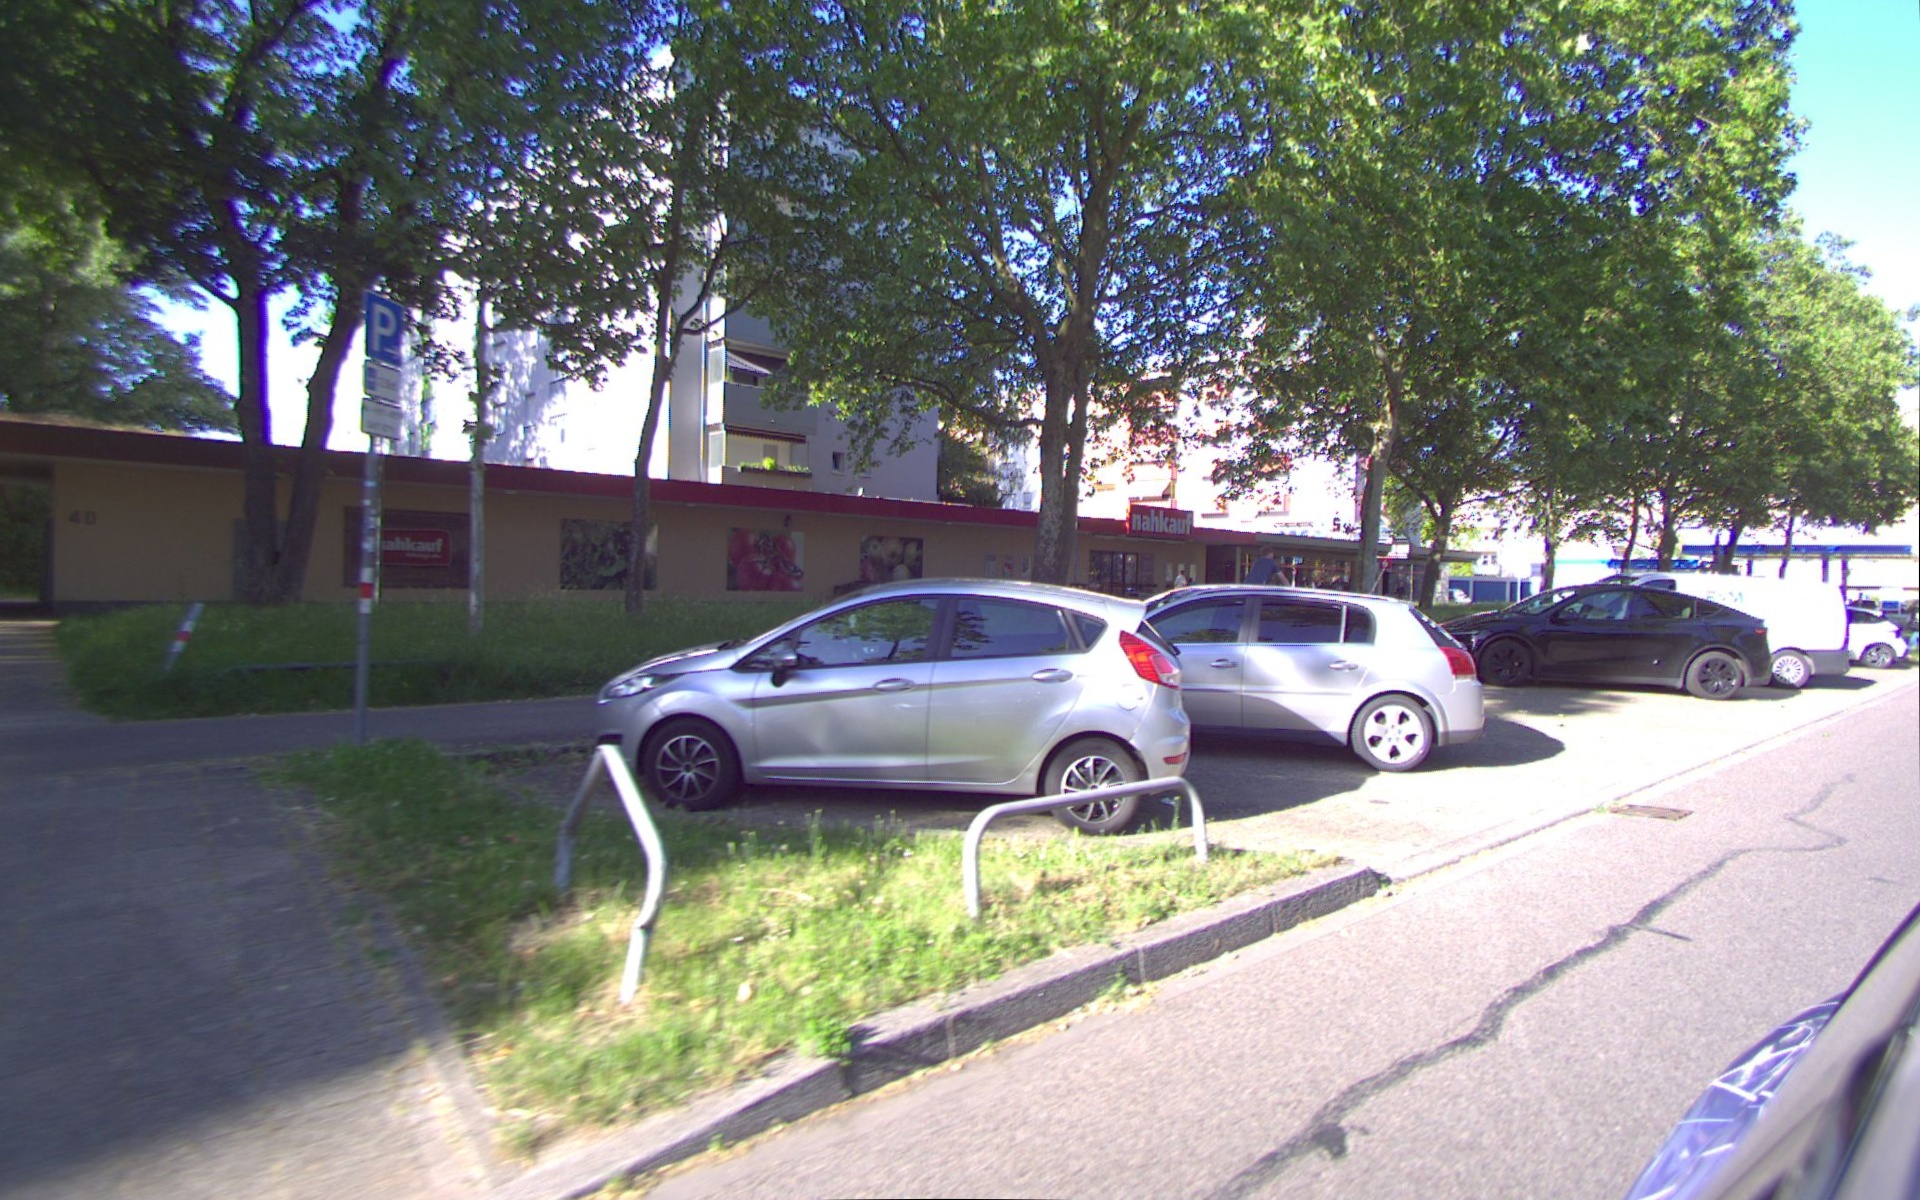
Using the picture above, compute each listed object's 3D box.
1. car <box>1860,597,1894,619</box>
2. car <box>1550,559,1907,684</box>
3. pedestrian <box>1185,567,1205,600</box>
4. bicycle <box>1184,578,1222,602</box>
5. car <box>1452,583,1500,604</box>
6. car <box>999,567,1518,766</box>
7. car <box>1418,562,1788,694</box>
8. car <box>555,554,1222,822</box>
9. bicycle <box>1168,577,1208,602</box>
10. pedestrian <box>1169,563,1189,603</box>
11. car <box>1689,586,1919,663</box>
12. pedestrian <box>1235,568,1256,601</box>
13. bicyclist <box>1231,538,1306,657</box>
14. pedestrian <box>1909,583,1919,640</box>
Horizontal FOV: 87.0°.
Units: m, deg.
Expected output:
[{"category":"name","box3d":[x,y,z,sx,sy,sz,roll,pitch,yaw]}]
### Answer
[{"category":"car","box3d":[66.035,0.577,72.868,1.721,1.481,3.942,3,2,44]},{"category":"car","box3d":[13.367,0.304,17.910,4.596,1.875,1.826,3,2,10]},{"category":"pedestrian","box3d":[10.453,-0.742,44.969,0.531,1.448,0.704,2,1,44]},{"category":"bicycle","box3d":[12.094,-0.501,50.377,1.811,1.194,0.600,1,0,-19]},{"category":"car","box3d":[38.690,-0.489,75.823,4.043,1.522,1.873,0,2,-42]},{"category":"car","box3d":[2.487,0.497,9.209,4.113,1.429,1.718,2,2,7]},{"category":"car","box3d":[9.765,0.355,15.730,4.429,1.726,1.757,3,2,9]},{"category":"car","box3d":[-0.424,0.467,6.689,3.868,1.389,1.587,2,2,4]},{"category":"bicycle","box3d":[11.078,-0.500,49.251,1.812,1.194,0.600,1,0,-13]},{"category":"pedestrian","box3d":[9.719,-0.752,44.939,0.495,1.721,0.704,2,1,44]},{"category":"car","box3d":[20.460,0.540,24.629,3.948,1.487,1.750,4,3,19]},{"category":"pedestrian","box3d":[14.106,-0.754,50.039,0.671,1.604,0.704,3,1,44]},{"category":"bicyclist","box3d":[4.764,-0.050,15.605,1.005,1.762,0.624,1,1,-40]},{"category":"pedestrian","box3d":[30.069,0.374,31.325,0.702,1.726,0.651,3,2,16]}]
